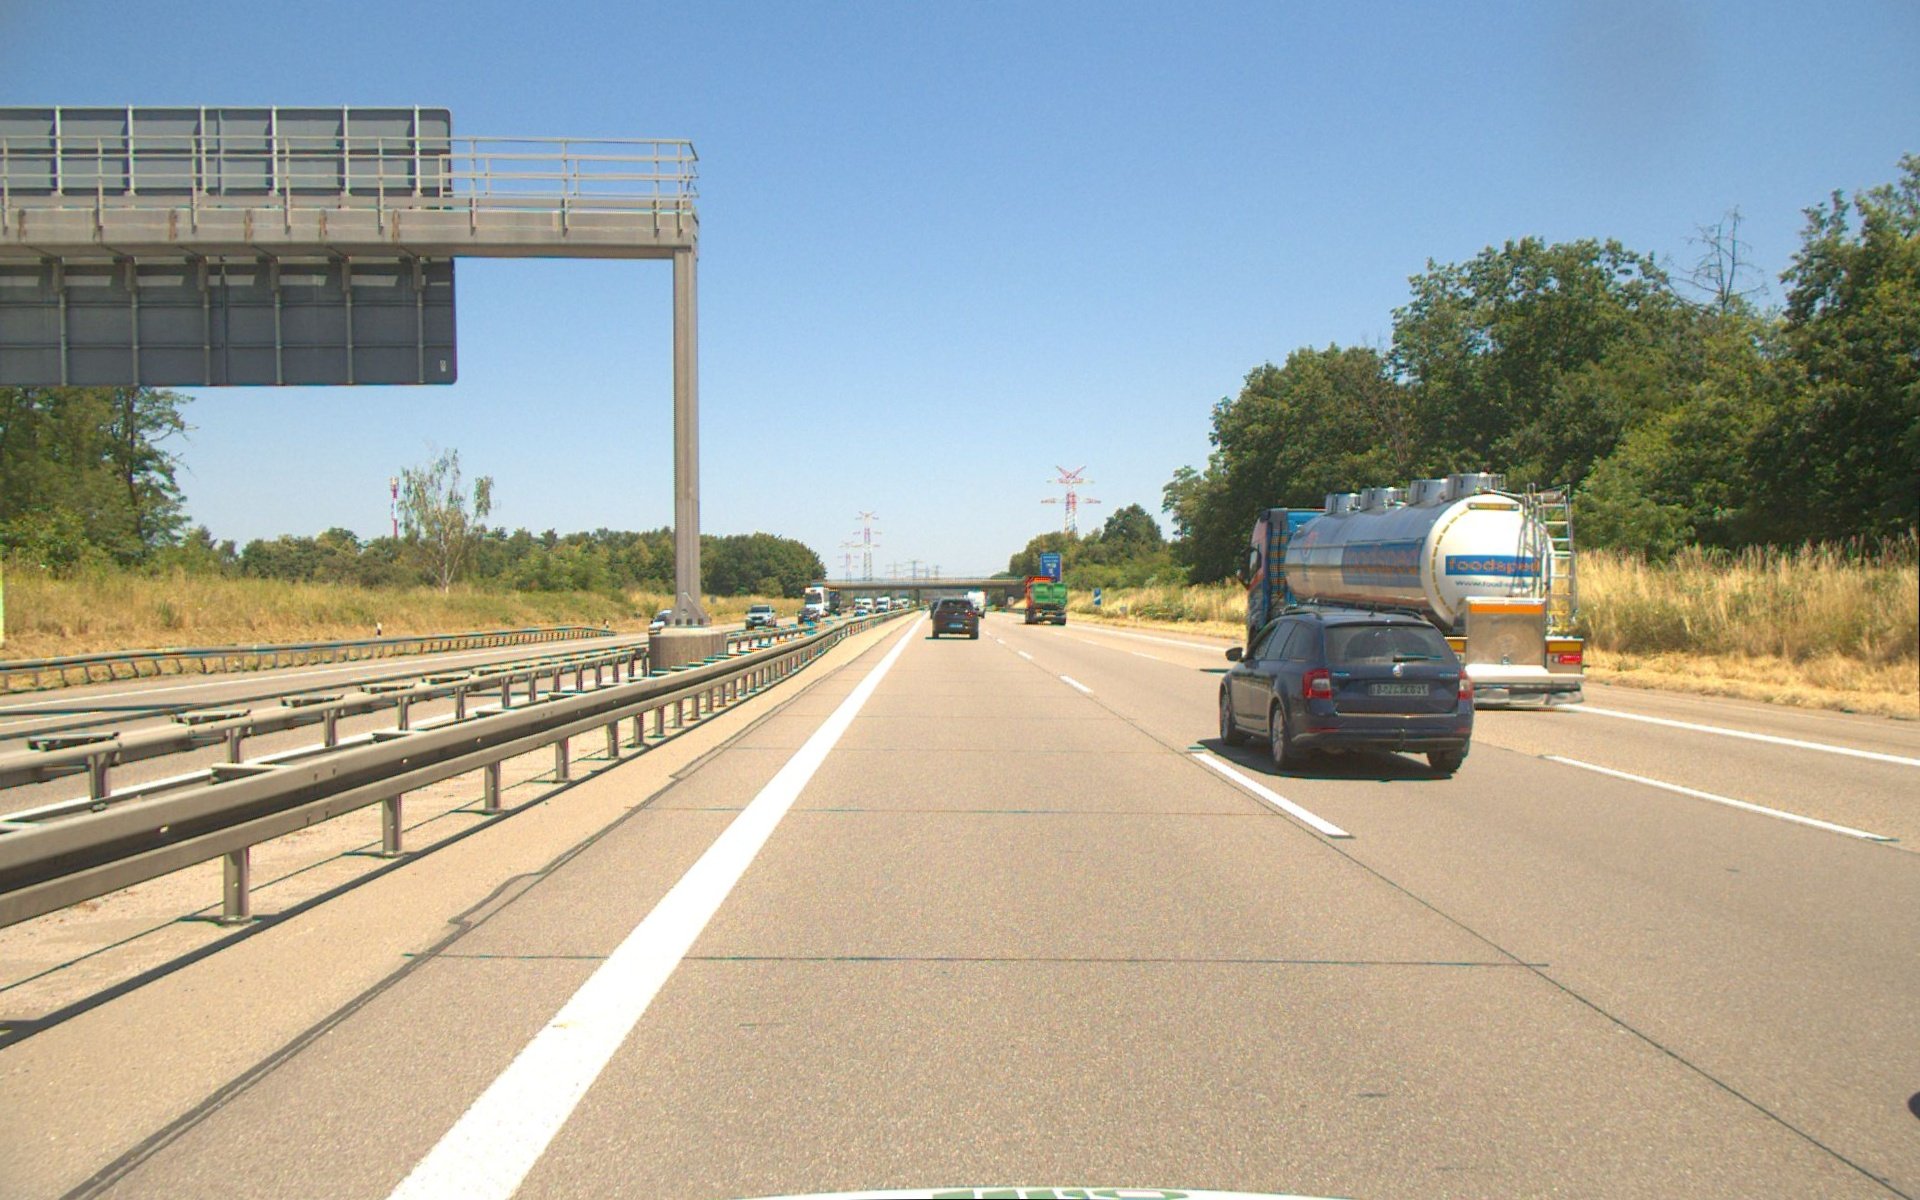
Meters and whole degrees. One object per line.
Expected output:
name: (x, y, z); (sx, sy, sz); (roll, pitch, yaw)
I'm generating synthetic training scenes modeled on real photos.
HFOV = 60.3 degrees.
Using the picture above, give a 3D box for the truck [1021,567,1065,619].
truck: (6.488, -0.502, 130.572); (2.626, 3.864, 12.476); (1, 0, -1)

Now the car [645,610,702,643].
car: (-13.110, 1.189, 75.938); (1.769, 1.420, 4.480); (-2, 0, 1)

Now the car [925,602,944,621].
car: (-2.493, 1.060, 159.560); (1.758, 1.780, 3.999); (1, 0, -1)

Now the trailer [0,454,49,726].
trailer: (-16.820, -0.144, 23.534); (2.996, 4.357, 8.633); (-1, 0, -1)

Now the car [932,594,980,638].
car: (-0.213, 0.676, 70.606); (1.953, 1.780, 3.999); (1, 0, -1)

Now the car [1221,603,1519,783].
car: (3.845, 0.800, 16.272); (1.765, 1.509, 4.270); (1, 0, -2)

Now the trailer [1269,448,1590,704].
trailer: (8.145, -0.346, 30.655); (2.477, 3.799, 11.546); (1, 0, -1)

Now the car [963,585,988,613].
car: (1.629, -0.092, 176.896); (2.568, 2.807, 6.095); (1, 0, -1)

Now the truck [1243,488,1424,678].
truck: (8.064, -0.332, 36.453); (2.477, 3.799, 6.097); (1, 0, -1)

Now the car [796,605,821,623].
car: (-13.878, 1.228, 151.886); (1.922, 1.552, 5.288); (-2, 0, -1)

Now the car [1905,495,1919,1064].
car: (4.130, 0.592, 3.029); (1.828, 1.849, 4.939); (1, 0, -2)

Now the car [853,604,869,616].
car: (-13.145, 1.291, 220.217); (1.922, 1.454, 5.288); (-2, 0, -1)

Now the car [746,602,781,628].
car: (-13.868, 1.039, 117.032); (1.922, 1.748, 5.288); (-2, 0, -1)
